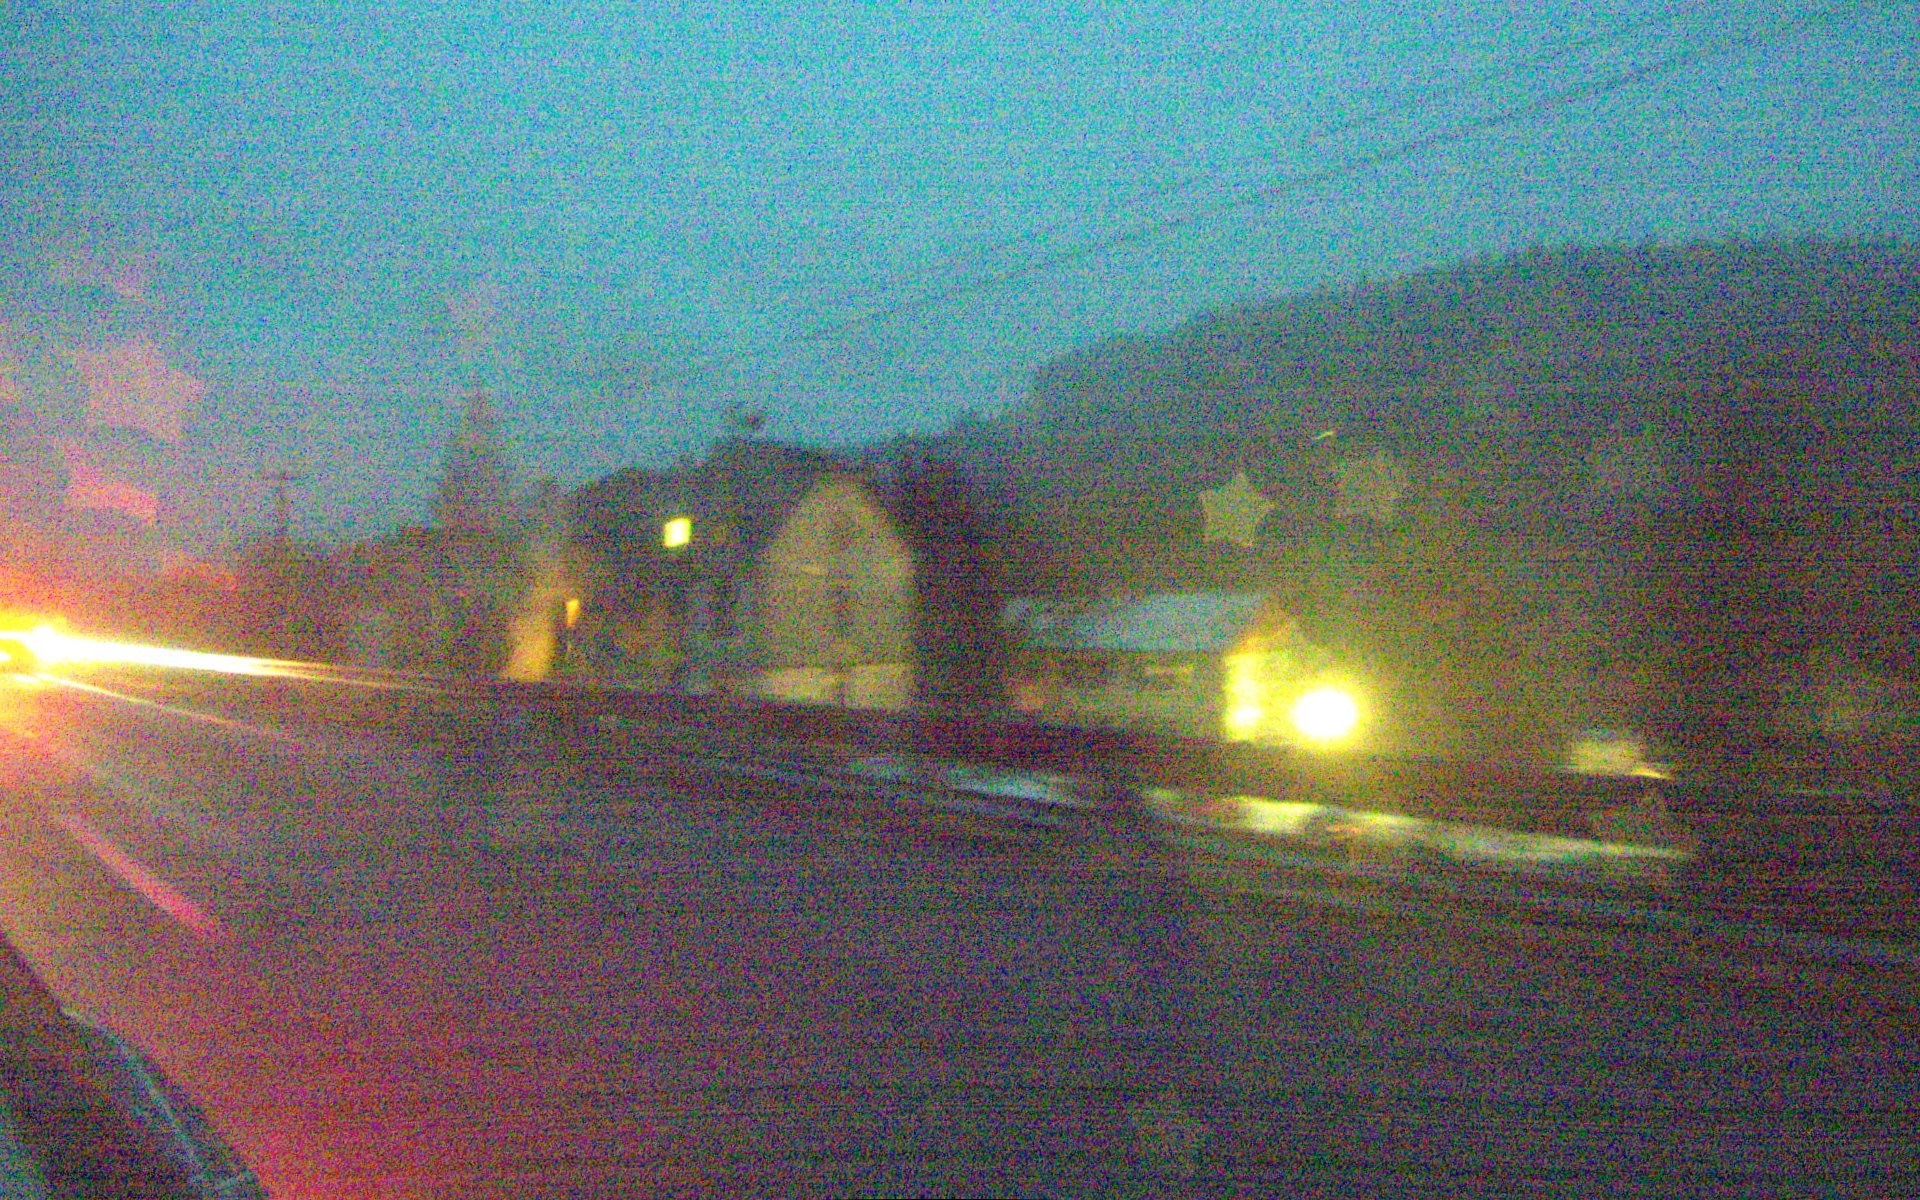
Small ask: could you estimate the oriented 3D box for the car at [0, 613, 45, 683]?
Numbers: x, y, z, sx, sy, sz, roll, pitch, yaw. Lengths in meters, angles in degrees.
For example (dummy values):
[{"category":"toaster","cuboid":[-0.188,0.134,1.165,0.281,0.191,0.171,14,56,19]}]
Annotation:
[{"category":"car","cuboid":[-24.519,1.158,25.184,4.453,1.652,2.075,-1,-2,41]}]
